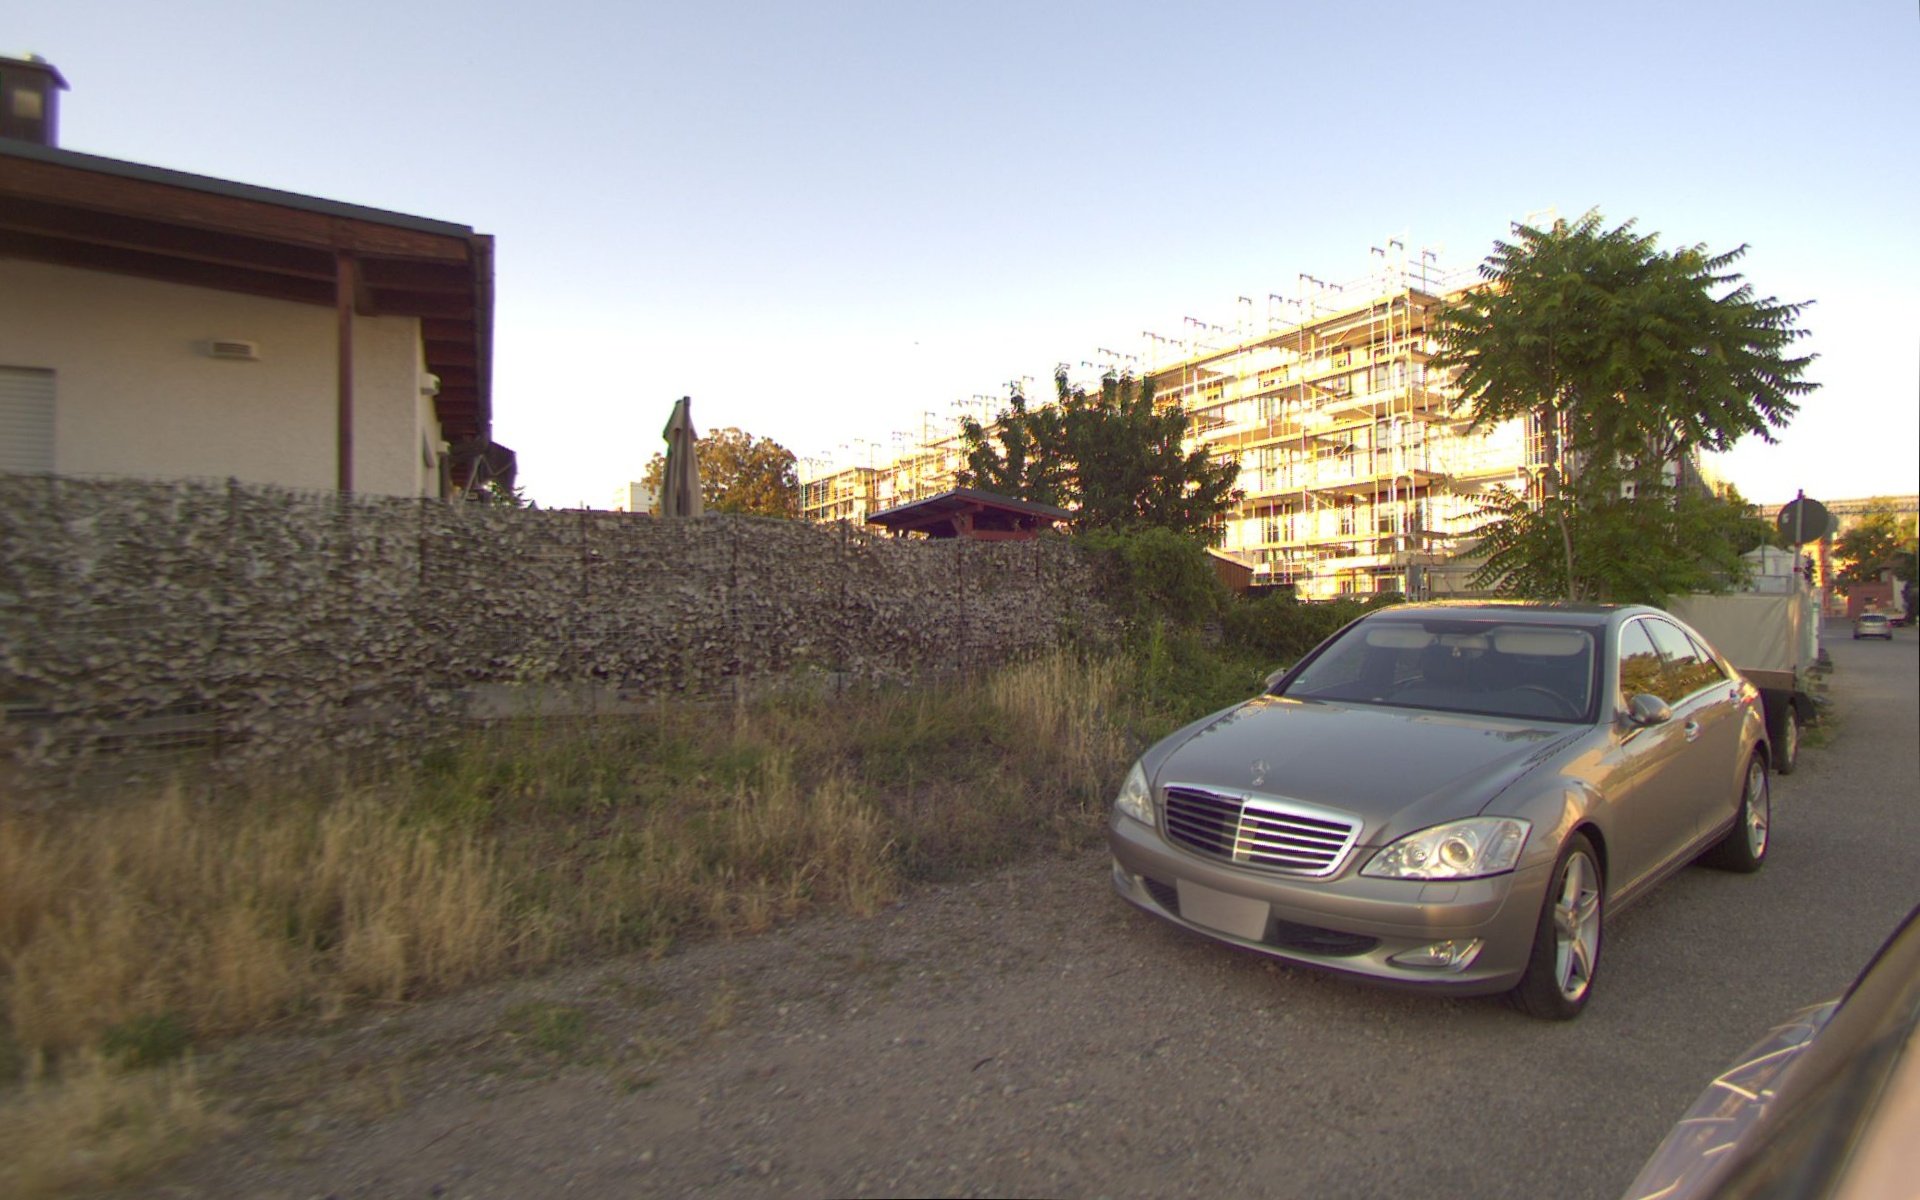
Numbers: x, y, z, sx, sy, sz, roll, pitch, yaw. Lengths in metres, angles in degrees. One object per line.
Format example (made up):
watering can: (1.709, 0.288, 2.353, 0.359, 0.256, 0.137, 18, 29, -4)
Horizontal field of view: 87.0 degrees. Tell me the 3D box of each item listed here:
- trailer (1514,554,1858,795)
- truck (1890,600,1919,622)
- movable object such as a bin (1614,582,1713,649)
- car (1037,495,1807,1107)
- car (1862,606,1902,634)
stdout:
trailer: (7.227, 0.553, 9.838, 4.852, 1.800, 1.733, 0, 0, -42)
truck: (93.558, 1.077, 100.005, 1.830, 2.129, 3.694, -4, -3, 34)
movable object such as a bin: (26.918, 0.556, 38.578, 2.063, 2.303, 8.239, -1, -1, 42)
car: (2.729, 0.567, 5.193, 4.843, 1.746, 1.809, 0, 0, -42)
car: (56.422, 1.220, 61.978, 1.669, 1.641, 4.221, -2, -2, 41)
